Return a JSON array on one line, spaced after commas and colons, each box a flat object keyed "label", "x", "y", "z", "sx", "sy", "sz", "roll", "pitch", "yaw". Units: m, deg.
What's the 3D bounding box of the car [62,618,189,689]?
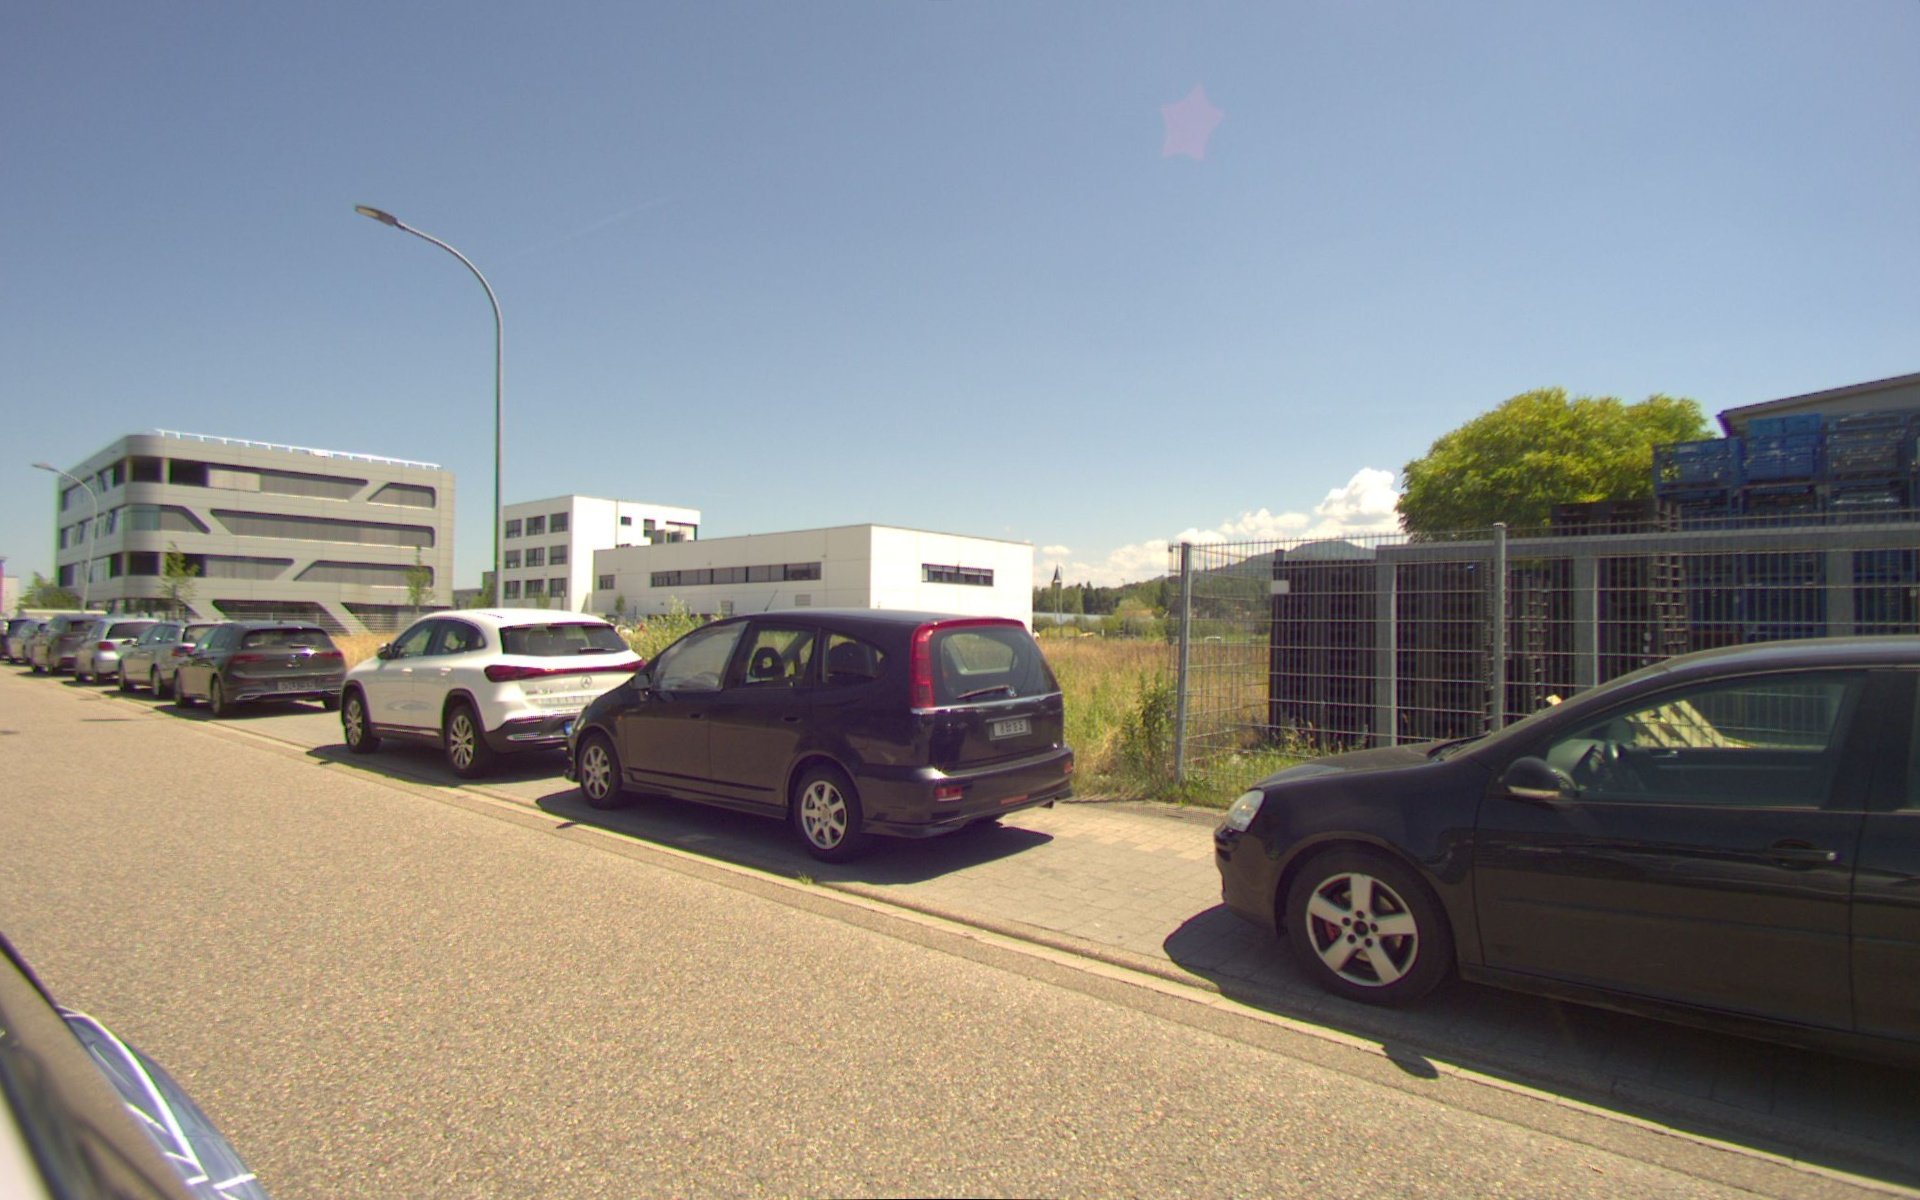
[{"label": "car", "x": -19.716, "y": 1.192, "z": 23.864, "sx": 3.732, "sy": 1.537, "sz": 1.676, "roll": -1, "pitch": -1, "yaw": 40}]

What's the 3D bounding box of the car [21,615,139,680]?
[{"label": "car", "x": -23.859, "y": 1.232, "z": 27.384, "sx": 4.459, "sy": 1.619, "sz": 1.772, "roll": -1, "pitch": -1, "yaw": 40}]

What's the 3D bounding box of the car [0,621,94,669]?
[{"label": "car", "x": -29.998, "y": 1.446, "z": 33.136, "sx": 4.195, "sy": 1.462, "sz": 1.746, "roll": -1, "pitch": -1, "yaw": 38}]

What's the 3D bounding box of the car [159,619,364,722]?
[{"label": "car", "x": -11.683, "y": 1.067, "z": 16.827, "sx": 4.227, "sy": 1.492, "sz": 1.837, "roll": -1, "pitch": -1, "yaw": 41}]

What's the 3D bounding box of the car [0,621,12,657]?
[{"label": "car", "x": -43.471, "y": 1.717, "z": 44.875, "sx": 4.364, "sy": 1.554, "sz": 1.767, "roll": -1, "pitch": -2, "yaw": 43}]

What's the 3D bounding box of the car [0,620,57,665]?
[{"label": "car", "x": -34.093, "y": 1.498, "z": 36.497, "sx": 4.377, "sy": 1.529, "sz": 1.745, "roll": -1, "pitch": -1, "yaw": 41}]

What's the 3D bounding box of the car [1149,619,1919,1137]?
[{"label": "car", "x": 3.050, "y": 0.813, "z": 3.806, "sx": 4.331, "sy": 1.472, "sz": 1.750, "roll": -1, "pitch": -1, "yaw": 41}]

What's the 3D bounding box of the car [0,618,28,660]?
[{"label": "car", "x": -39.716, "y": 1.576, "z": 41.474, "sx": 3.766, "sy": 1.669, "sz": 1.769, "roll": -1, "pitch": -2, "yaw": 40}]

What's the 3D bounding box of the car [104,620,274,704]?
[{"label": "car", "x": -15.622, "y": 1.161, "z": 20.411, "sx": 4.812, "sy": 1.492, "sz": 1.757, "roll": -1, "pitch": -1, "yaw": 40}]

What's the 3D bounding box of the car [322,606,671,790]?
[{"label": "car", "x": -5.117, "y": 0.886, "z": 10.903, "sx": 4.356, "sy": 1.604, "sz": 1.751, "roll": -1, "pitch": -1, "yaw": 40}]

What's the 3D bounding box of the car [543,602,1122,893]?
[{"label": "car", "x": -1.185, "y": 0.834, "z": 7.604, "sx": 4.498, "sy": 1.568, "sz": 1.751, "roll": -1, "pitch": -1, "yaw": 40}]
